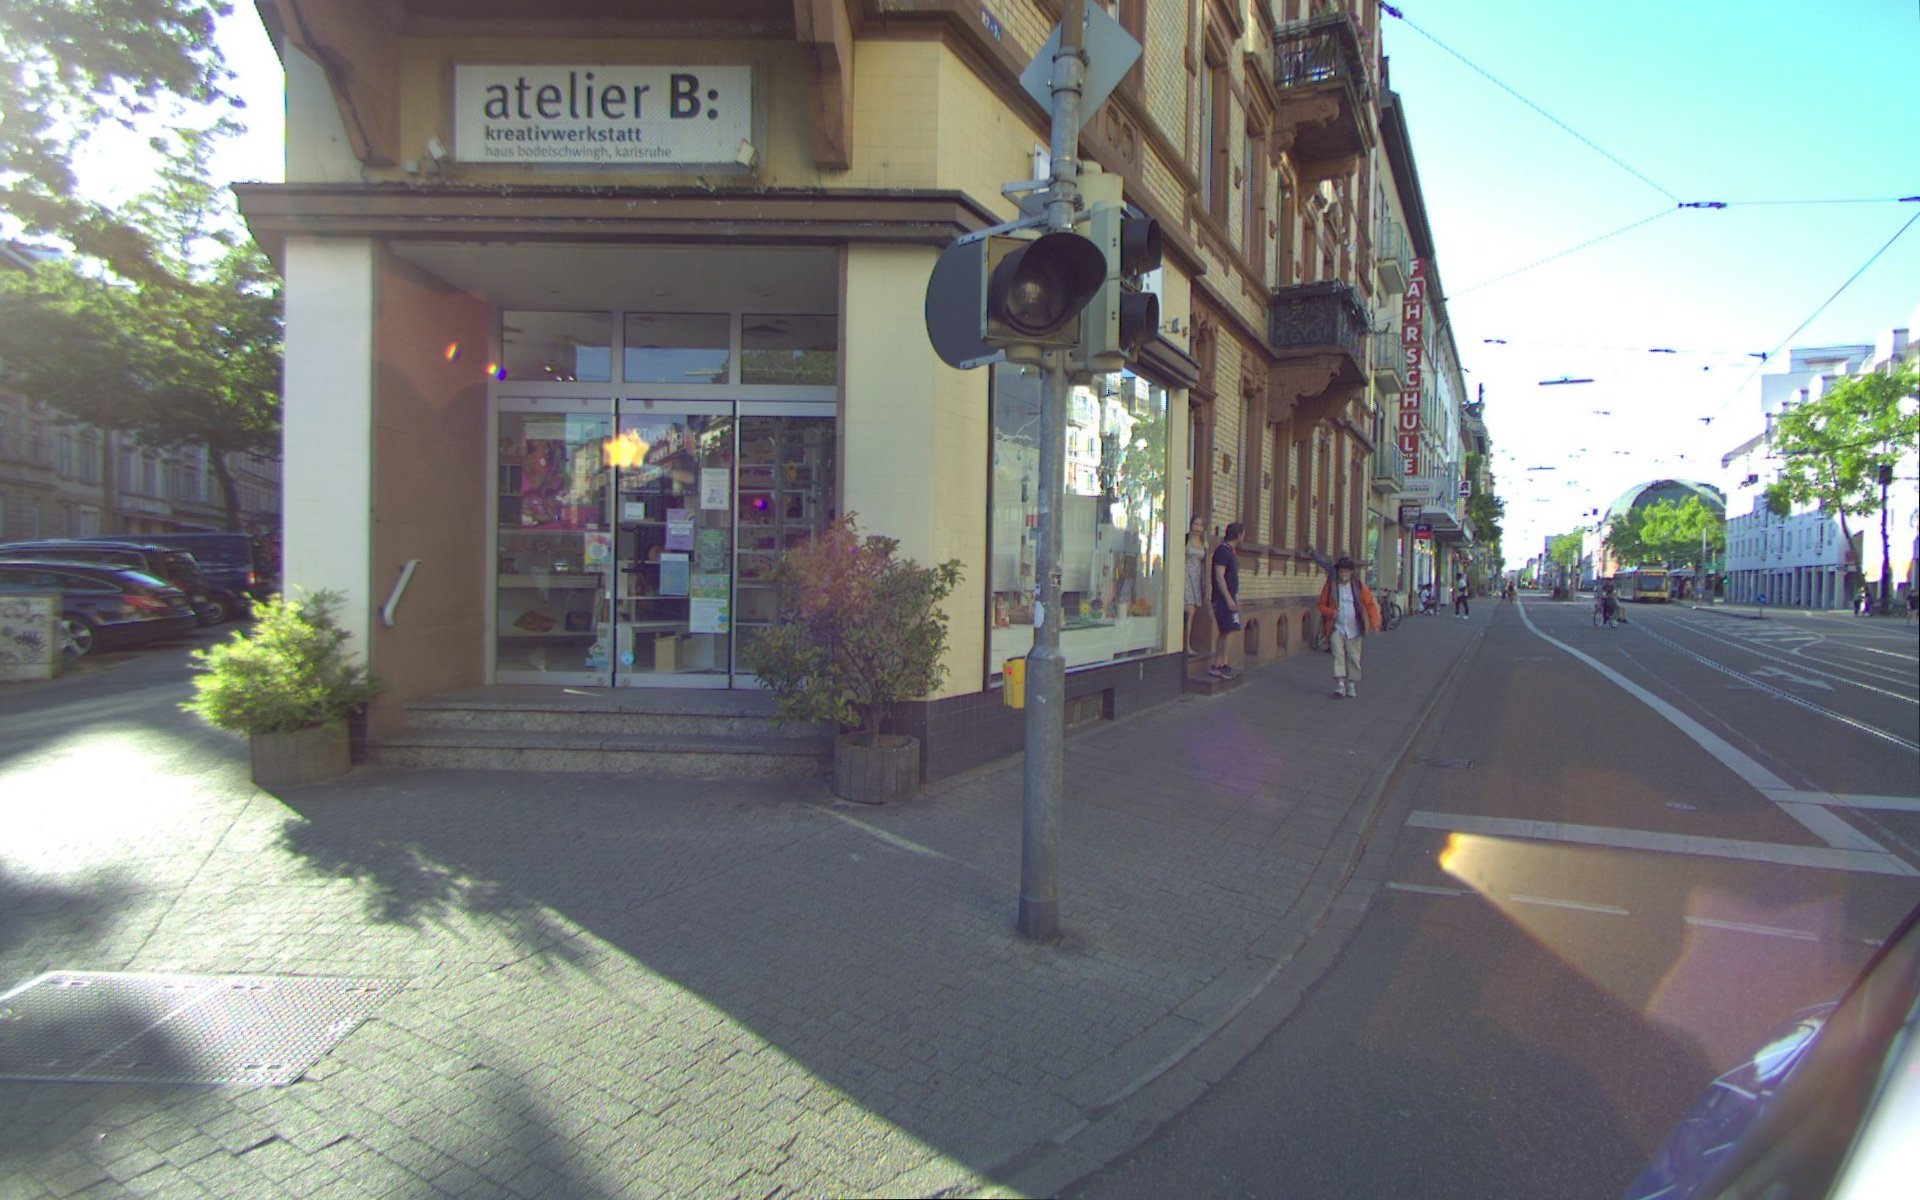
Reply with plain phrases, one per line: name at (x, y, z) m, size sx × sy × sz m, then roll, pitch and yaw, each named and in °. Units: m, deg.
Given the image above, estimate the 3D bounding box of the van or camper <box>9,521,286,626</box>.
van or camper at (-16.793, -0.545, 21.235) m, size 4.226 × 2.010 × 2.003 m, roll 0°, pitch 2°, yaw -28°

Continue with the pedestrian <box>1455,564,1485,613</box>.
pedestrian at (20.229, -0.459, 40.146) m, size 0.668 × 1.833 × 0.706 m, roll 3°, pitch 5°, yaw -45°

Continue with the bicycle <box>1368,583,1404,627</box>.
bicycle at (11.252, 0.103, 26.711) m, size 0.552 × 1.074 × 2.287 m, roll 4°, pitch 3°, yaw 29°

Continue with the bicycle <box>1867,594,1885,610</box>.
bicycle at (53.708, 0.100, 59.360) m, size 0.386 × 0.924 × 1.832 m, roll 0°, pitch 1°, yaw 30°

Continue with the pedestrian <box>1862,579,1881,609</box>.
pedestrian at (54.240, -0.343, 60.218) m, size 0.809 × 1.737 × 0.632 m, roll 0°, pitch 1°, yaw -33°

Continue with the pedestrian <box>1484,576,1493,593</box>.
pedestrian at (55.090, -1.613, 105.510) m, size 0.647 × 1.737 × 0.796 m, roll 2°, pitch 1°, yaw 35°

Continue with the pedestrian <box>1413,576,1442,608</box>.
pedestrian at (19.036, -0.331, 41.185) m, size 0.696 × 1.188 × 1.013 m, roll 7°, pitch 4°, yaw 10°

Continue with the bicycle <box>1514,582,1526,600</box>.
bicycle at (38.265, -0.621, 69.161) m, size 0.677 × 1.185 × 1.814 m, roll 2°, pitch 1°, yaw 28°

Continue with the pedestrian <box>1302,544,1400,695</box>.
pedestrian at (4.635, 0.214, 11.983) m, size 0.794 × 1.647 × 0.817 m, roll 8°, pitch 3°, yaw 30°

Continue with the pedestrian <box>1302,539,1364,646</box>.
pedestrian at (6.759, -0.146, 18.326) m, size 0.801 × 1.821 × 0.754 m, roll 6°, pitch 3°, yaw 29°

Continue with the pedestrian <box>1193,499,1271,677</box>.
pedestrian at (3.086, -0.138, 11.460) m, size 0.512 × 1.929 × 0.588 m, roll 7°, pitch 3°, yaw 30°

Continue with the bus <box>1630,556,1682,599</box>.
bus at (63.647, -2.051, 92.808) m, size 2.797 × 3.611 × 13.534 m, roll 2°, pitch 2°, yaw 30°

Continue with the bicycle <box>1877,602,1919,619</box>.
bicycle at (54.317, 0.612, 58.562) m, size 1.839 × 0.924 × 0.384 m, roll 0°, pitch -5°, yaw 36°

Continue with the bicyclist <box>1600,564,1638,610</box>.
bicyclist at (23.267, -0.469, 35.744) m, size 0.820 × 1.567 × 0.693 m, roll -2°, pitch 6°, yaw -24°

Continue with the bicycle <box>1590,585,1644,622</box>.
bicycle at (23.246, 0.109, 35.795) m, size 1.794 × 1.184 × 0.685 m, roll -2°, pitch 6°, yaw -24°

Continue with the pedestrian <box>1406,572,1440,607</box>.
pedestrian at (18.422, -0.408, 40.274) m, size 0.814 × 1.270 × 0.708 m, roll 6°, pitch 4°, yaw -5°

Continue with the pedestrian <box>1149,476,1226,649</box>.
pedestrian at (2.649, -0.432, 11.762) m, size 0.512 × 1.929 × 0.588 m, roll 7°, pitch 3°, yaw 30°

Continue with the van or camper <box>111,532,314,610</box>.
van or camper at (-20.404, -0.774, 27.880) m, size 4.226 × 2.010 × 2.003 m, roll 0°, pitch 2°, yaw -28°

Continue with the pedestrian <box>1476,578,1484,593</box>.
pedestrian at (54.271, -1.538, 105.620) m, size 0.644 × 1.598 × 0.677 m, roll 1°, pitch 1°, yaw 23°

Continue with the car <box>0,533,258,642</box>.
car at (-14.354, -0.220, 16.792) m, size 4.226 × 1.668 × 2.003 m, roll 0°, pitch 2°, yaw -28°

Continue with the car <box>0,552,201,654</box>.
car at (-13.540, 0.005, 14.321) m, size 4.226 × 1.371 × 2.003 m, roll 0°, pitch 2°, yaw -28°

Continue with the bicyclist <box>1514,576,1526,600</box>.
bicyclist at (38.228, -0.849, 69.123) m, size 0.671 × 1.634 × 0.829 m, roll 1°, pitch 1°, yaw 28°

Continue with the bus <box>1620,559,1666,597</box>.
bus at (70.163, -2.290, 104.215) m, size 2.797 × 3.611 × 13.536 m, roll 2°, pitch 2°, yaw 30°
